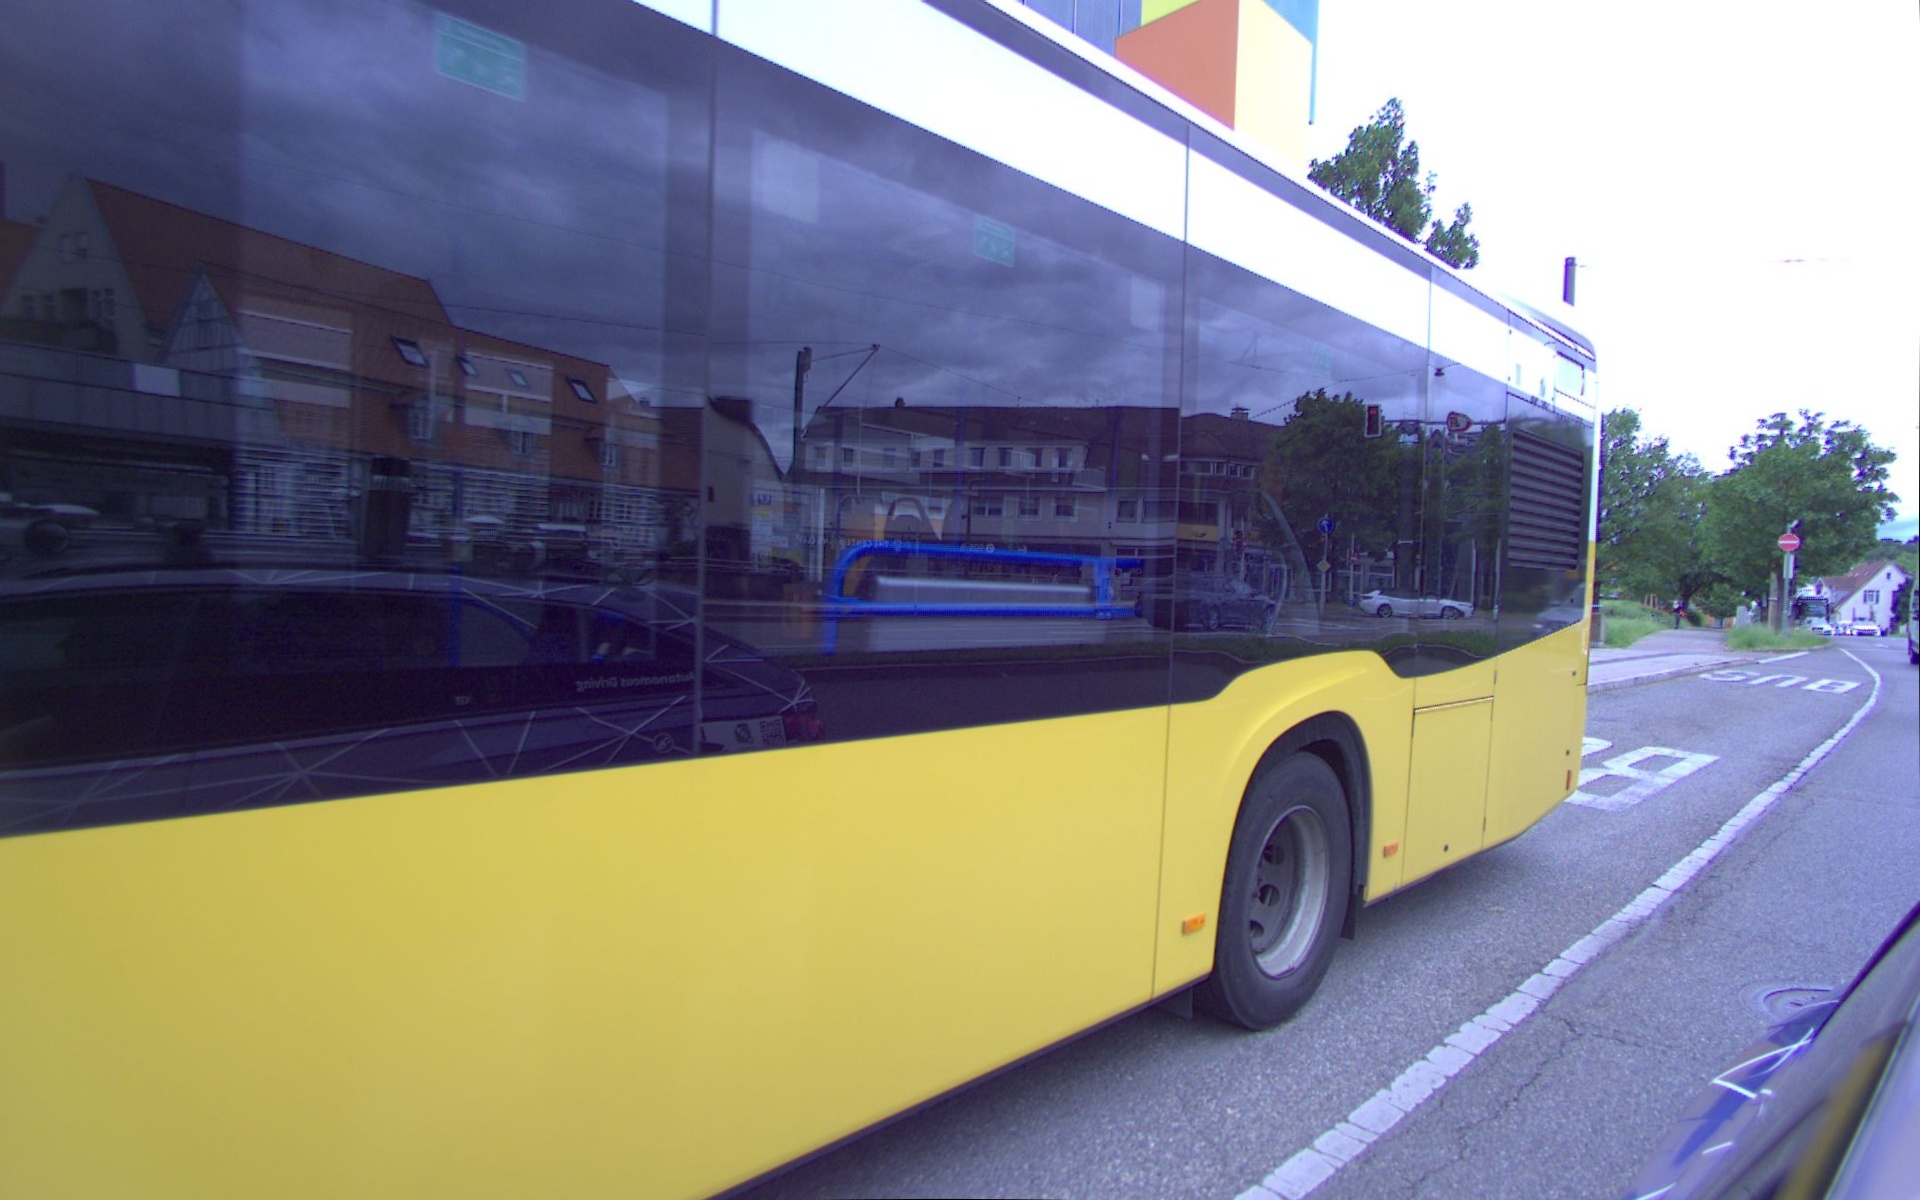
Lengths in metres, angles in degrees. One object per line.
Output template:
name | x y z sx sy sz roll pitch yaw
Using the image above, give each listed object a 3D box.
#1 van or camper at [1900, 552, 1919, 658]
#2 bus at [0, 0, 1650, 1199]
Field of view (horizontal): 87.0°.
van or camper | 26.772 0.148 26.758 2.271 2.739 6.895 3 2 39
bus | -0.301 -0.154 3.719 8.719 3.147 2.716 0 2 -43
